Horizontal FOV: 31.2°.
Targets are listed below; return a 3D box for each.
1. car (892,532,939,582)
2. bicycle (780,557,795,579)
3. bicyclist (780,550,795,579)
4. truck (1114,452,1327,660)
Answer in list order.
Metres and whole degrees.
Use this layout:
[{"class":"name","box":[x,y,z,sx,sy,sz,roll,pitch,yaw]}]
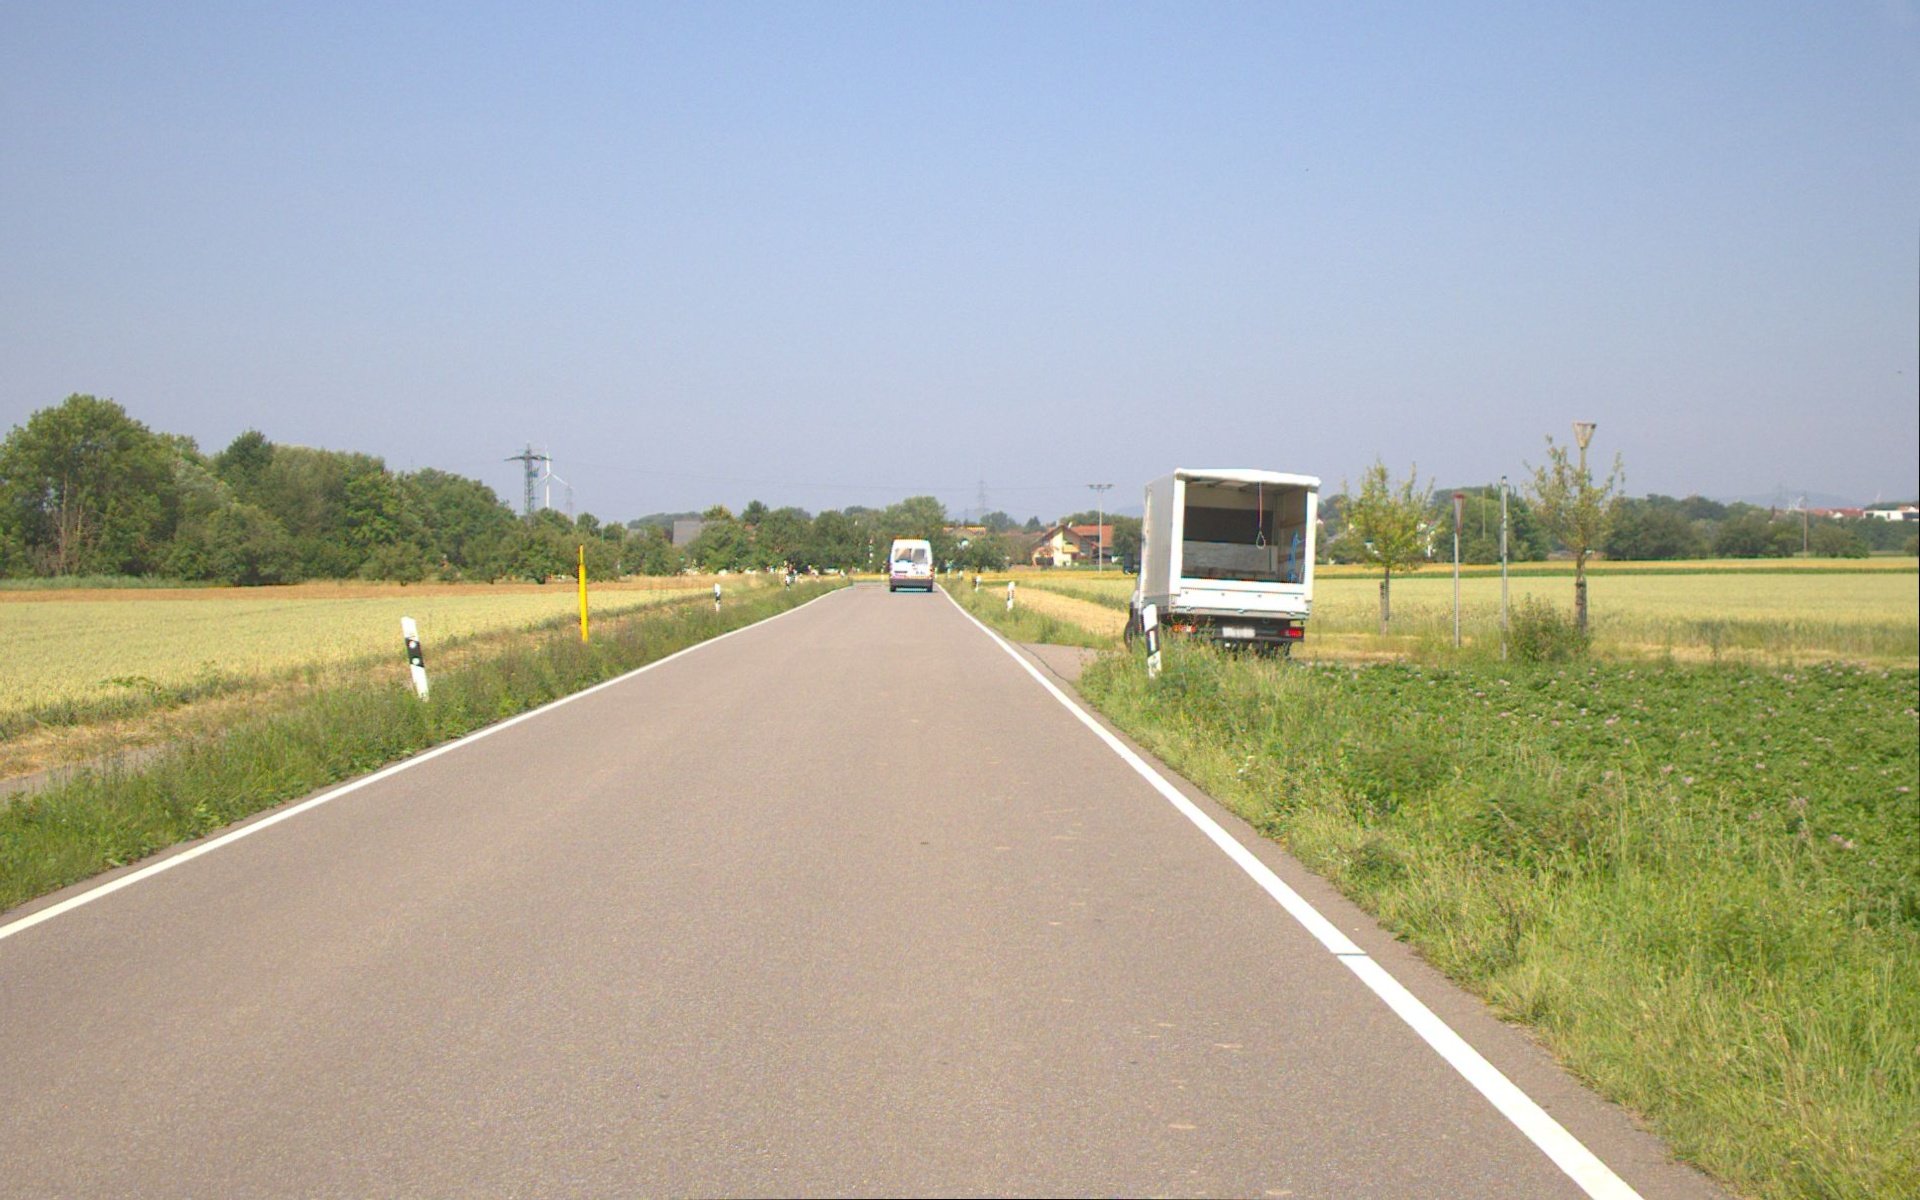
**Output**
[{"class":"car","box":[-2.130,-2.032,163.605,2.107,2.296,5.496,1,0,-1]},{"class":"bicycle","box":[-10.203,-1.882,203.200,0.759,1.231,2.394,-2,1,-1]},{"class":"bicyclist","box":[-10.207,-2.112,203.246,0.760,1.667,1.088,-2,0,-1]},{"class":"truck","box":[3.952,-0.677,53.620,2.335,2.932,7.009,3,0,-3]}]
